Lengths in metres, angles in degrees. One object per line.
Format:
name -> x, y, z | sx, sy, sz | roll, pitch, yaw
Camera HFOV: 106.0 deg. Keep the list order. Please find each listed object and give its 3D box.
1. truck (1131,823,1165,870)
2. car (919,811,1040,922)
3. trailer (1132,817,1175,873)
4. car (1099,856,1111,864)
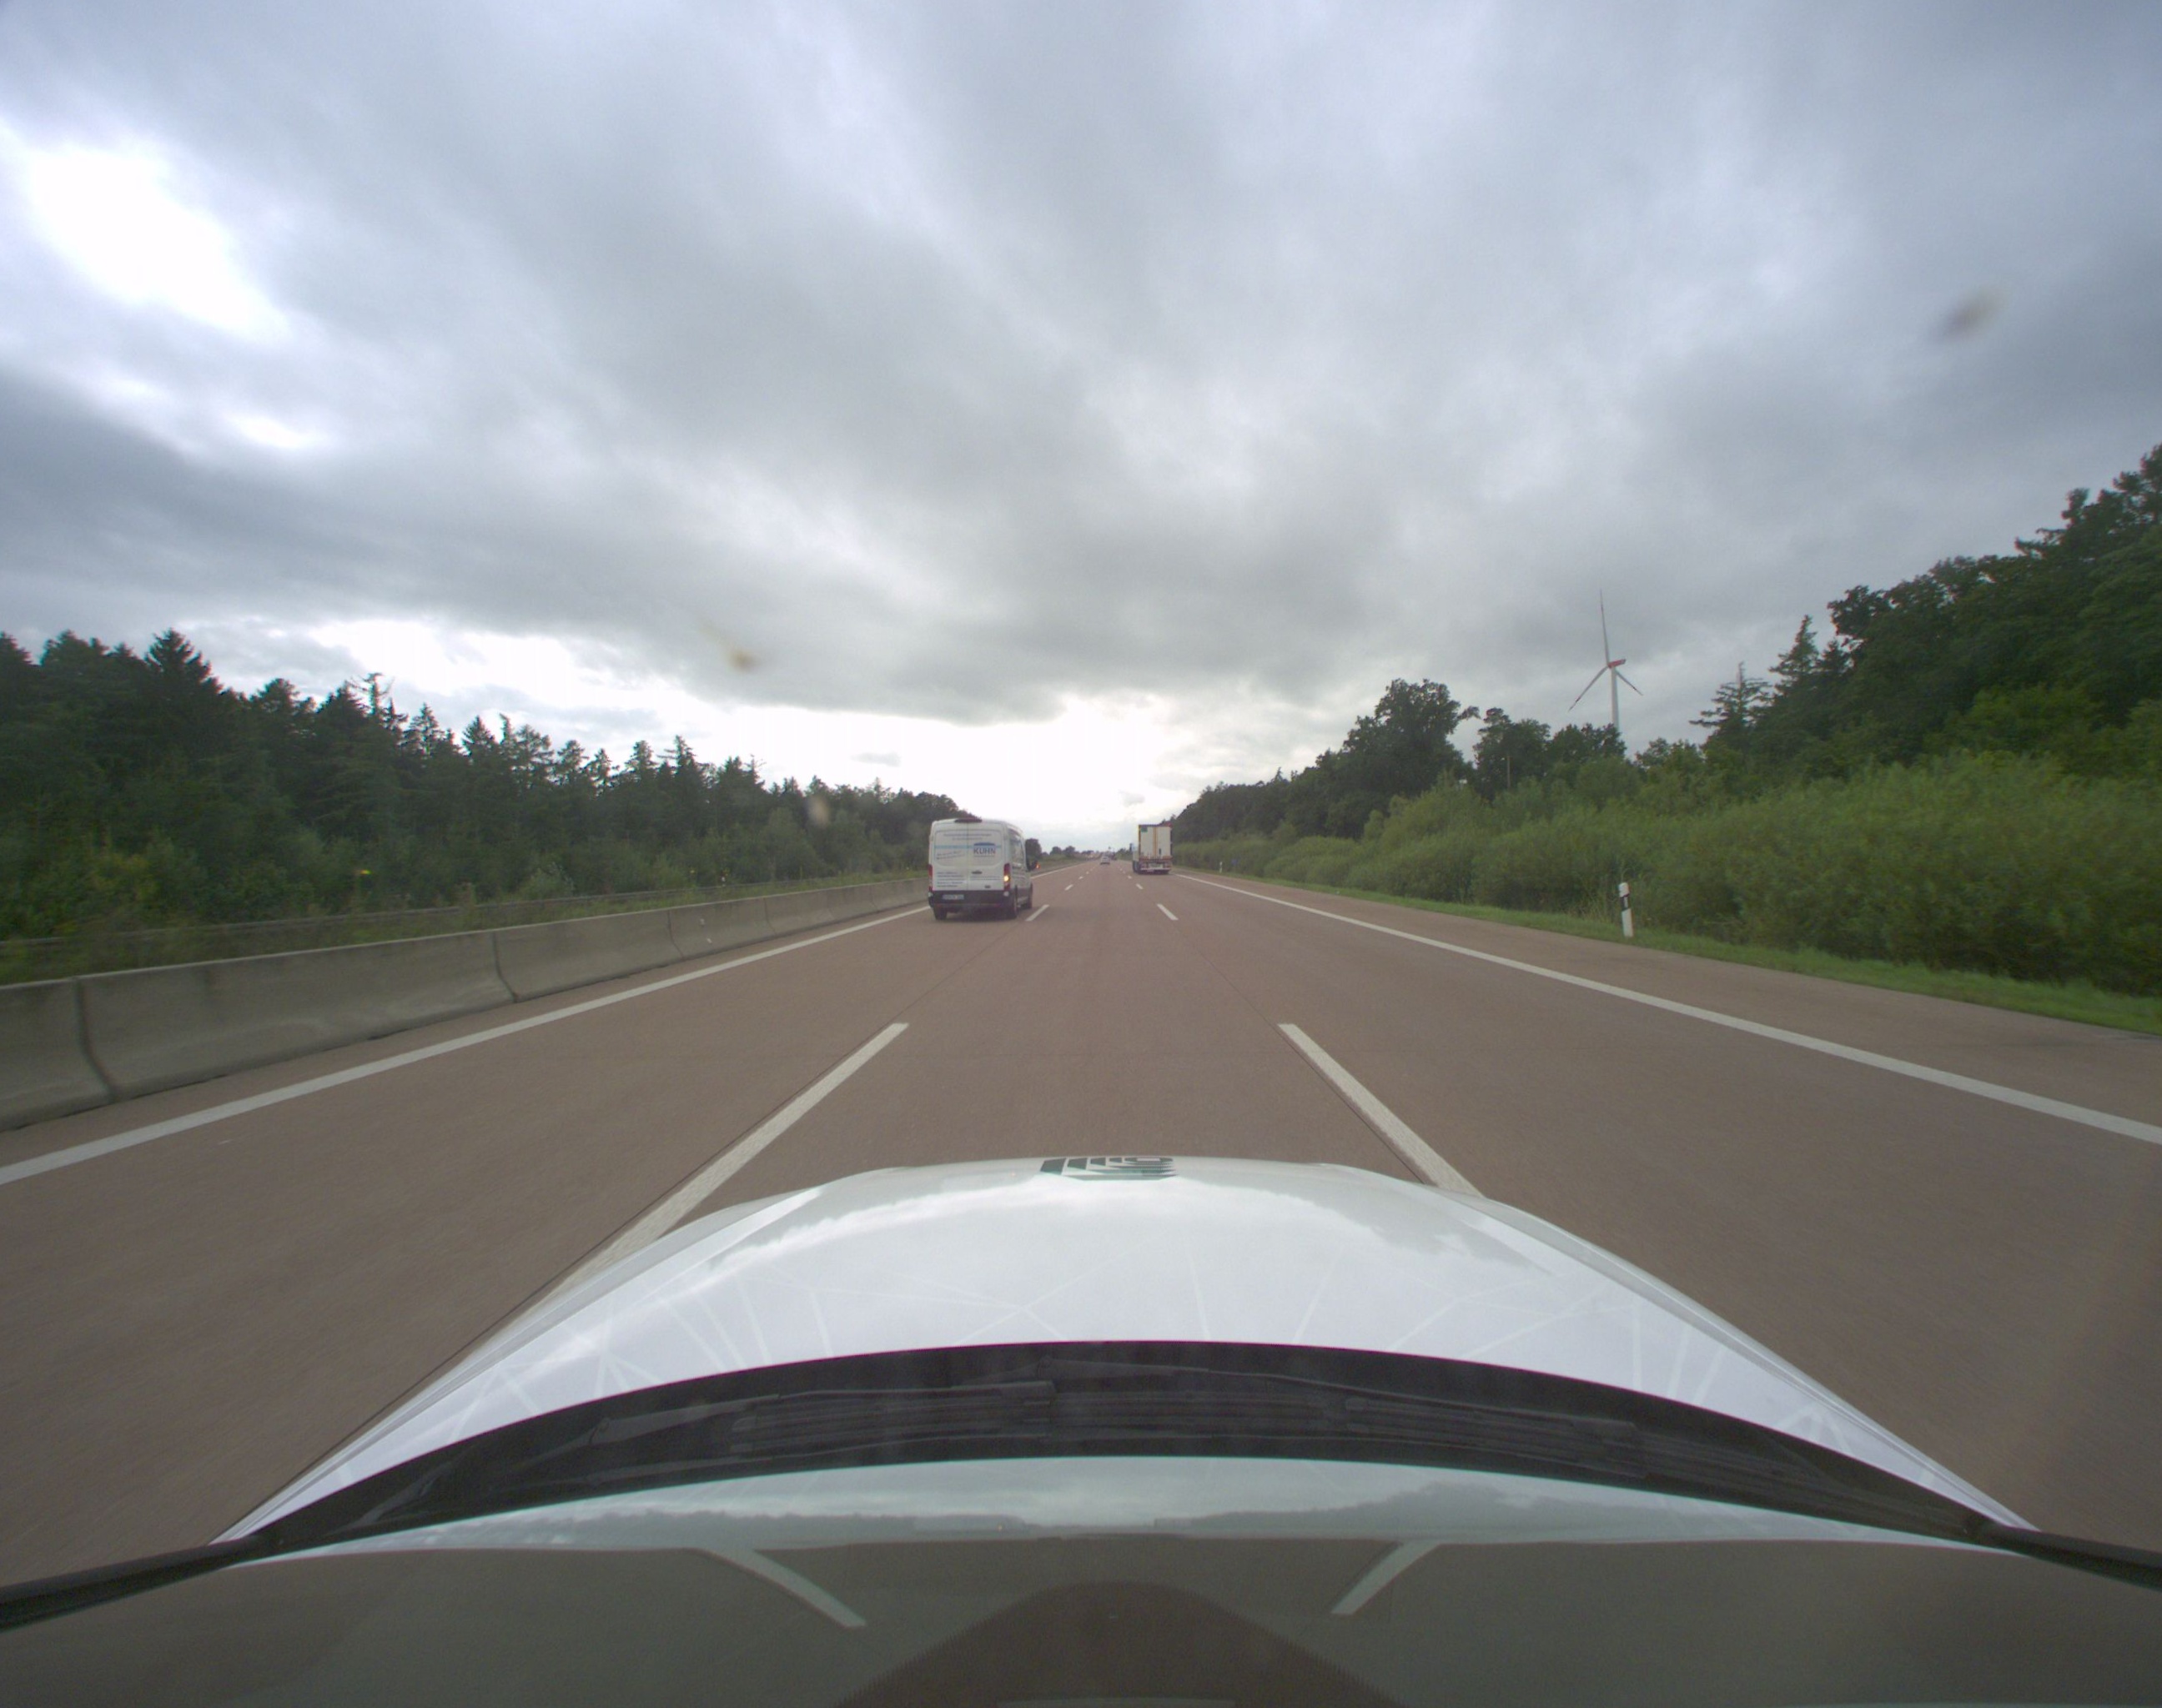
truck -> 6.298, -0.658, 77.518 | 2.910, 4.294, 5.337 | -1, 0, 2
car -> -2.532, 0.278, 22.360 | 2.129, 2.507, 7.135 | -1, 0, 2
trailer -> 6.032, -0.669, 69.814 | 2.910, 4.294, 13.620 | -1, 0, 2
car -> 4.582, 1.130, 157.402 | 2.154, 1.451, 4.723 | 0, 0, 3
